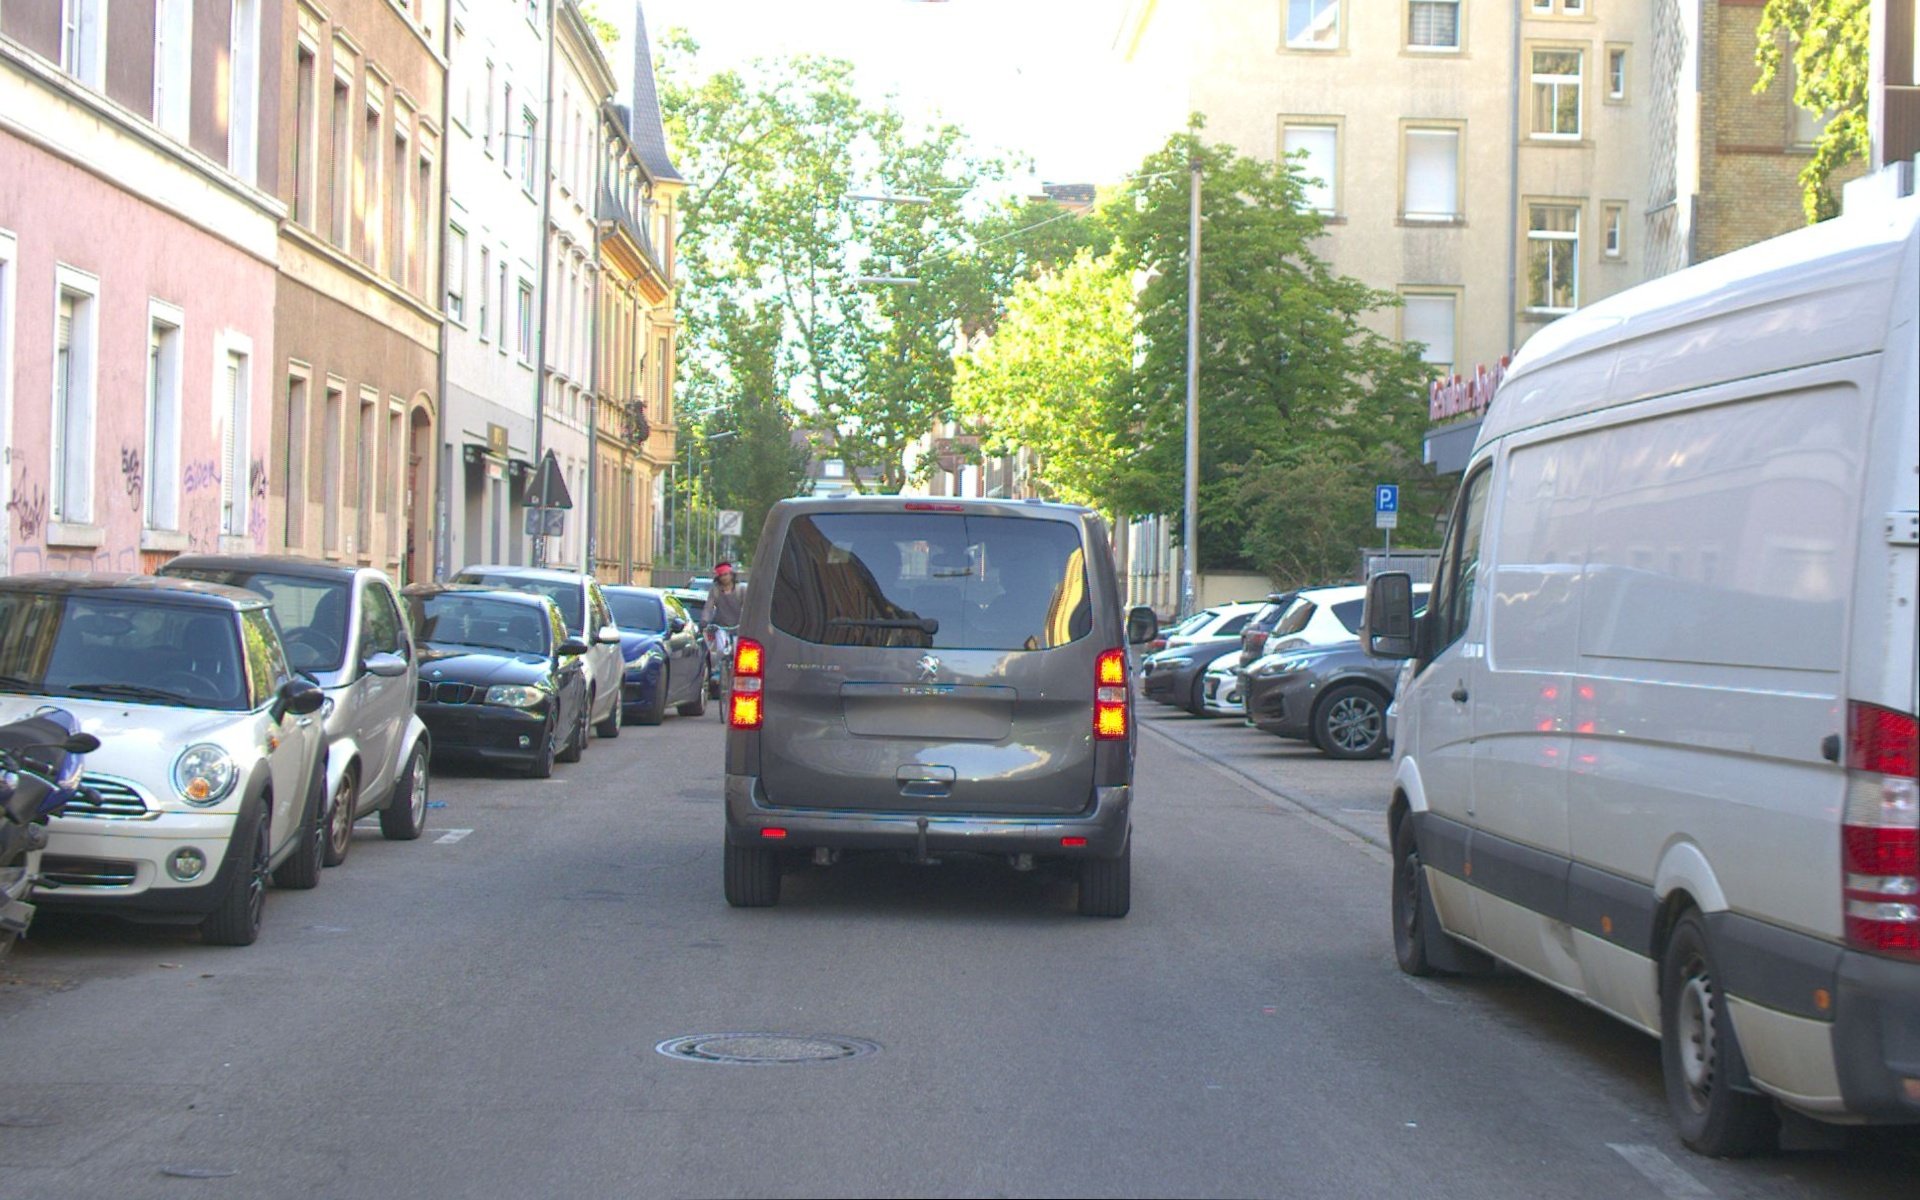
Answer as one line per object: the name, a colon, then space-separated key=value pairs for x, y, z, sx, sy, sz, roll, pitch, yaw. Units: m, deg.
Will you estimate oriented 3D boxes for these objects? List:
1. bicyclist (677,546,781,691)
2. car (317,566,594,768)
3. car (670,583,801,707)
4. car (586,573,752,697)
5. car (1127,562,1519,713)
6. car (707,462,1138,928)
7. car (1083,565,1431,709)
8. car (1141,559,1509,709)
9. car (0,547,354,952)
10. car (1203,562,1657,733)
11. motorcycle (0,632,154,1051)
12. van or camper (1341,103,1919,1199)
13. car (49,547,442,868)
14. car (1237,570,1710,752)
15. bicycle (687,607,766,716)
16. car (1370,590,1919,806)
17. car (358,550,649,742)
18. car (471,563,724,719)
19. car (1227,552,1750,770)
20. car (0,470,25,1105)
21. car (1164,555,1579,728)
bicyclist: x=-2.558 y=0.196 z=38.077 sx=1.034 sy=1.572 sz=0.833 roll=1 pitch=0 yaw=3
car: x=-3.920 y=0.472 z=27.345 sx=1.788 sy=1.393 sz=4.468 roll=3 pitch=0 yaw=-4
car: x=-3.692 y=0.702 z=56.318 sx=1.993 sy=1.852 sz=4.585 roll=2 pitch=0 yaw=-4
car: x=-4.009 y=0.448 z=47.762 sx=2.144 sy=1.555 sz=4.585 roll=2 pitch=0 yaw=-4
car: x=4.574 y=0.460 z=43.710 sx=4.568 sy=1.786 sz=2.000 roll=1 pitch=0 yaw=-8
car: x=-0.167 y=0.390 z=16.878 sx=1.857 sy=2.007 sz=4.000 roll=0 pitch=1 yaw=0
car: x=4.207 y=0.515 z=49.159 sx=4.568 sy=1.852 sz=2.000 roll=2 pitch=0 yaw=-8
car: x=4.929 y=0.447 z=46.739 sx=4.568 sy=1.852 sz=2.000 roll=2 pitch=0 yaw=-8
car: x=-3.683 y=0.540 z=14.911 sx=1.710 sy=1.492 sz=3.856 roll=2 pitch=0 yaw=-5
car: x=5.182 y=0.512 z=38.229 sx=4.568 sy=1.699 sz=2.000 roll=2 pitch=0 yaw=-8
motorcycle: x=-3.347 y=0.753 z=11.699 sx=0.710 sy=1.230 sz=2.475 roll=2 pitch=0 yaw=-3
van or camper: x=2.895 y=0.188 z=11.349 sx=2.099 sy=2.593 sz=7.513 roll=1 pitch=0 yaw=-2
car: x=-3.721 y=0.520 z=18.281 sx=1.386 sy=1.527 sz=2.749 roll=2 pitch=0 yaw=2
car: x=5.242 y=0.607 z=35.387 sx=4.454 sy=1.670 sz=1.797 roll=2 pitch=0 yaw=-5
bicycle: x=-2.546 y=0.654 z=37.719 sx=0.621 sy=1.134 sz=2.257 roll=1 pitch=0 yaw=2
car: x=5.500 y=0.696 z=25.626 sx=4.625 sy=1.461 sz=1.841 roll=-1 pitch=0 yaw=-1
car: x=-4.191 y=0.382 z=32.254 sx=1.993 sy=1.599 sz=4.585 roll=2 pitch=0 yaw=1
car: x=-3.942 y=0.409 z=38.158 sx=1.994 sy=1.555 sz=4.584 roll=2 pitch=0 yaw=4
car: x=4.963 y=0.558 z=32.755 sx=4.569 sy=1.852 sz=2.000 roll=2 pitch=0 yaw=-2
car: x=-3.469 y=0.508 z=7.341 sx=1.863 sy=1.745 sz=4.294 roll=2 pitch=0 yaw=-2
car: x=4.823 y=0.479 z=40.620 sx=4.472 sy=1.852 sz=1.885 roll=2 pitch=0 yaw=-8
